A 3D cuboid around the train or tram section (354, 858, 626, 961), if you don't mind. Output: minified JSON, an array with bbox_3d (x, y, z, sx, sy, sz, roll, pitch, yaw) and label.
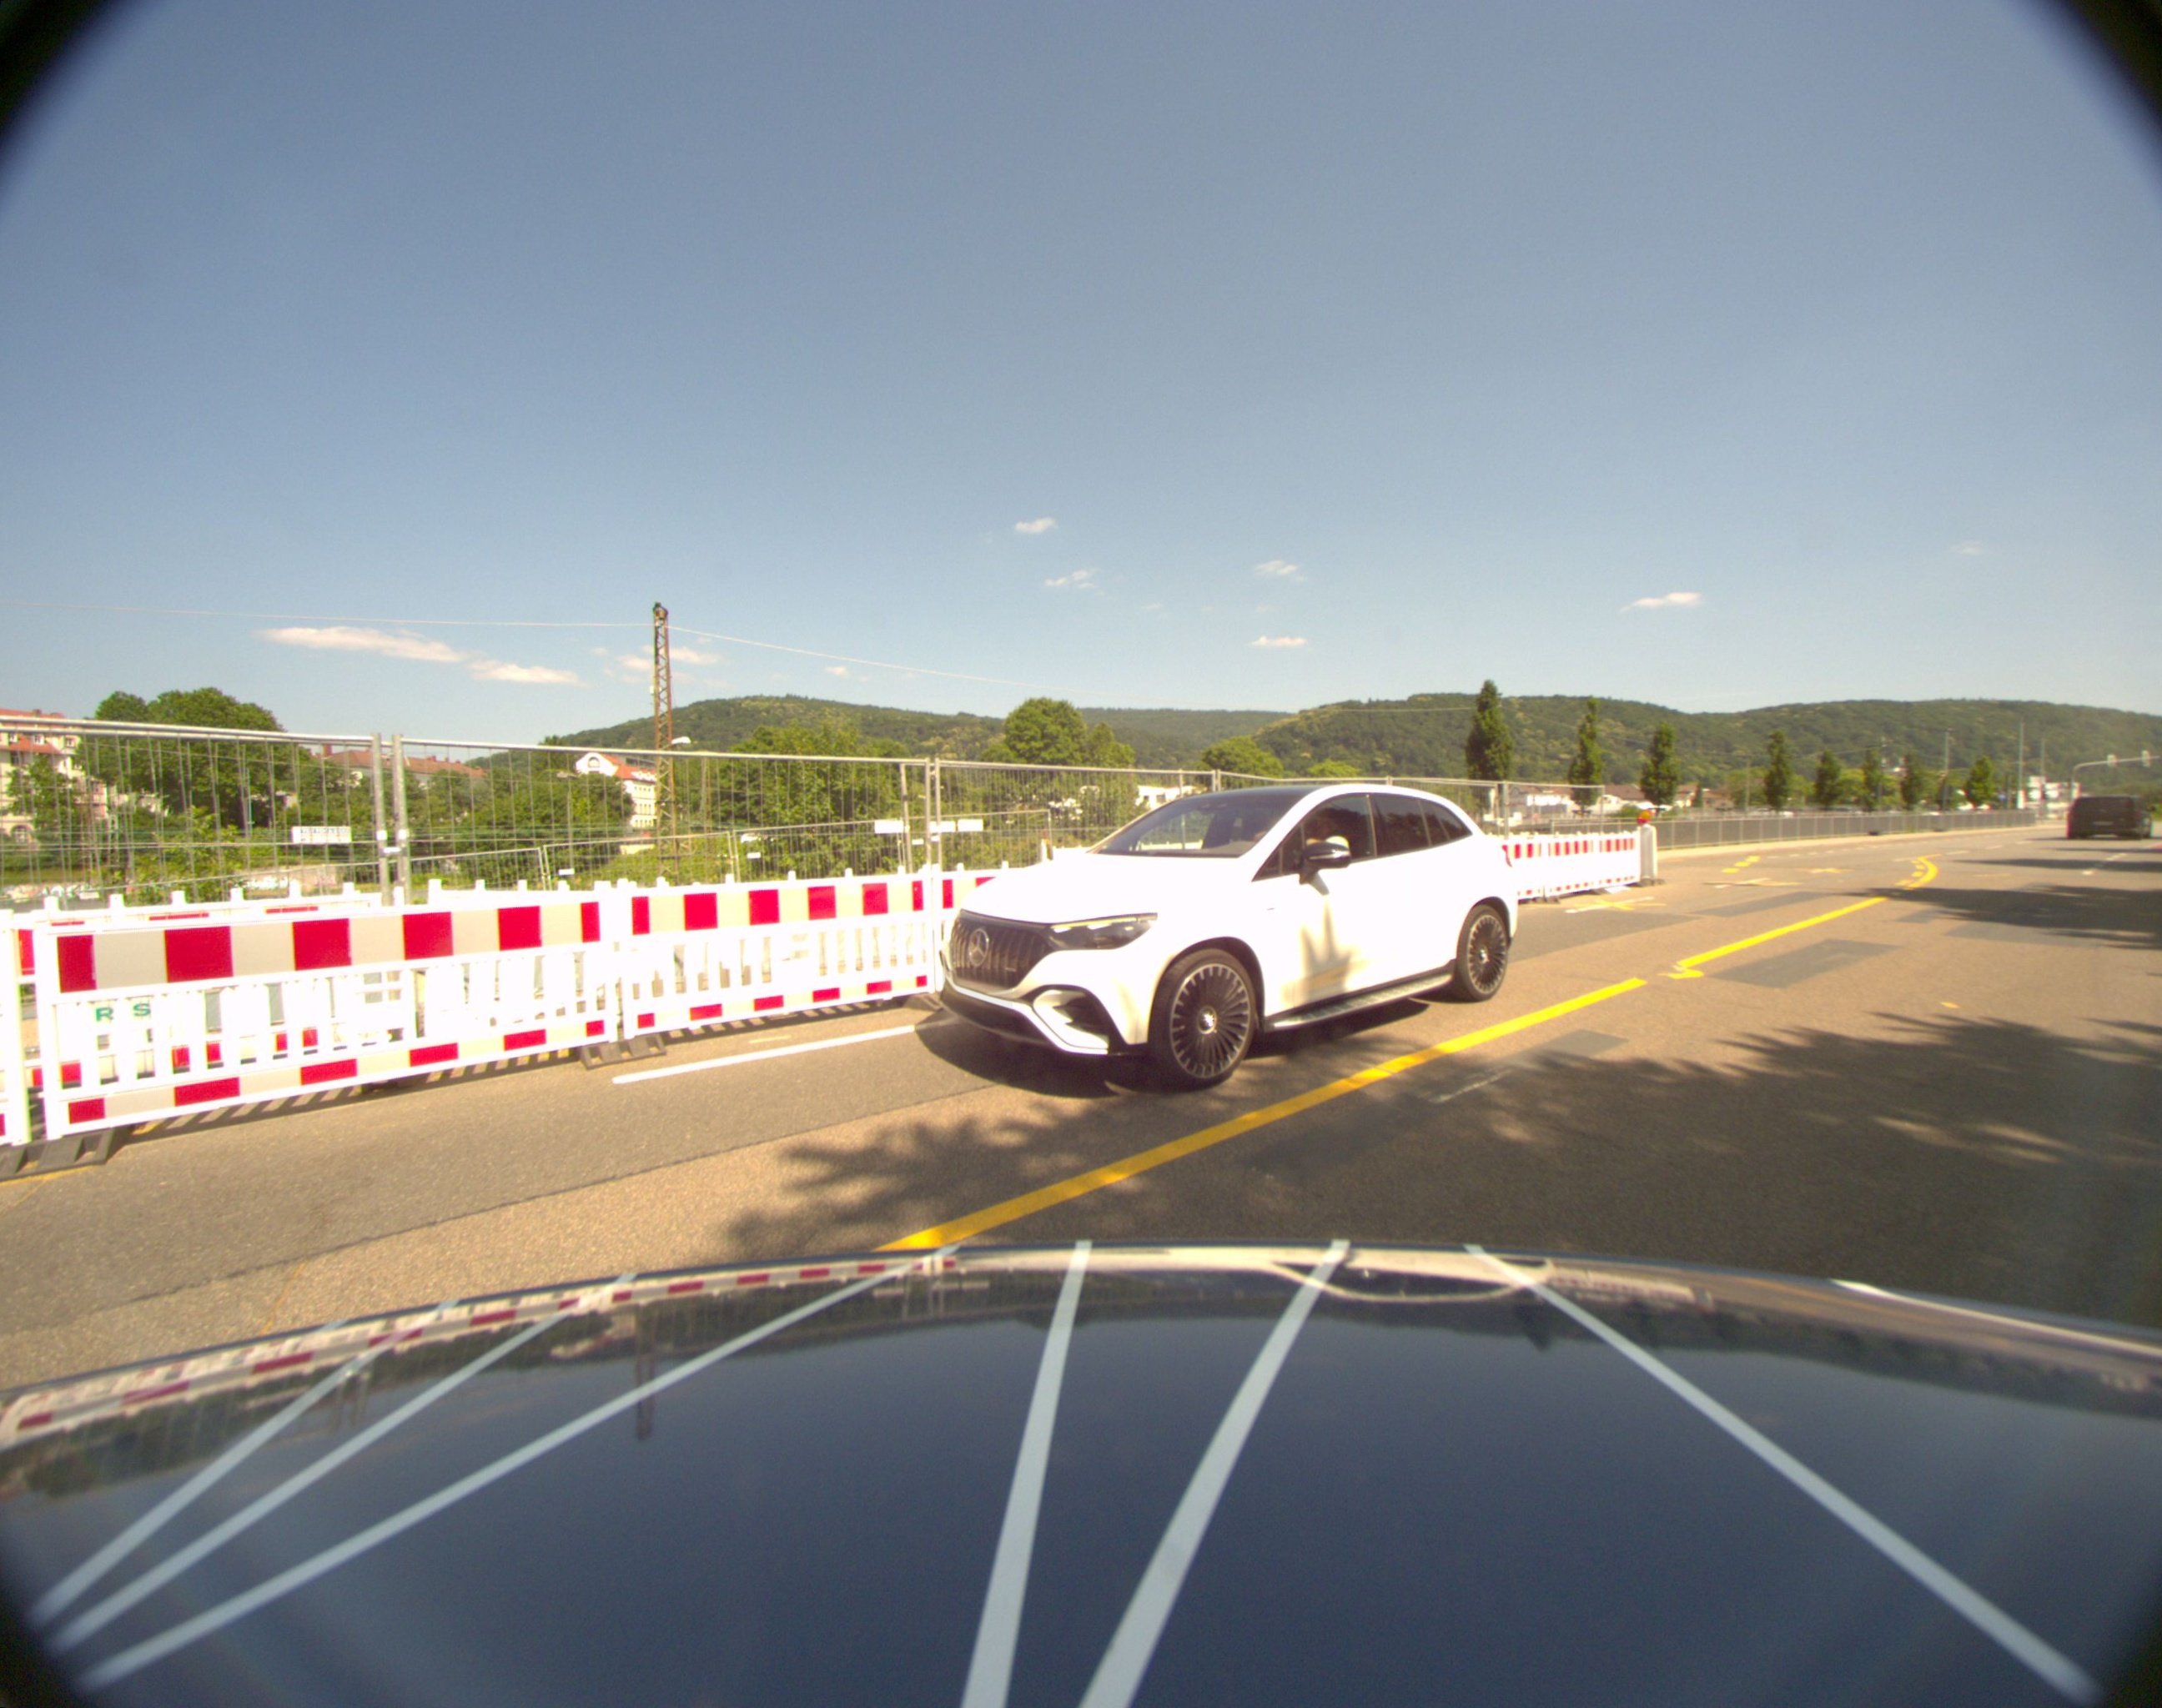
[{"bbox_3d":[-25.854,2.267,33.997,8.983,3.693,3.018,-3,1,-26],"label":"train or tram section"}]

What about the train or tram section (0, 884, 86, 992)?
[{"bbox_3d":[-41.948,3.194,26.005,8.983,3.682,3.018,-3,1,-26],"label":"train or tram section"}]

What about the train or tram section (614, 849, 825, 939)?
[{"bbox_3d":[-17.822,1.812,37.978,8.983,3.680,3.018,-3,1,-26],"label":"train or tram section"}]

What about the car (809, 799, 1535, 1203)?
[{"bbox_3d":[0.984,0.480,5.341,5.040,1.636,1.994,-3,3,-37],"label":"car"}]

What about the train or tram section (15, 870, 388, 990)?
[{"bbox_3d":[-33.901,2.735,29.995,8.983,3.690,3.018,-3,1,-26],"label":"train or tram section"}]

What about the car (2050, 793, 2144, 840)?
[{"bbox_3d":[46.359,-1.772,34.633,5.453,1.958,2.176,-3,6,-34],"label":"car"}]
